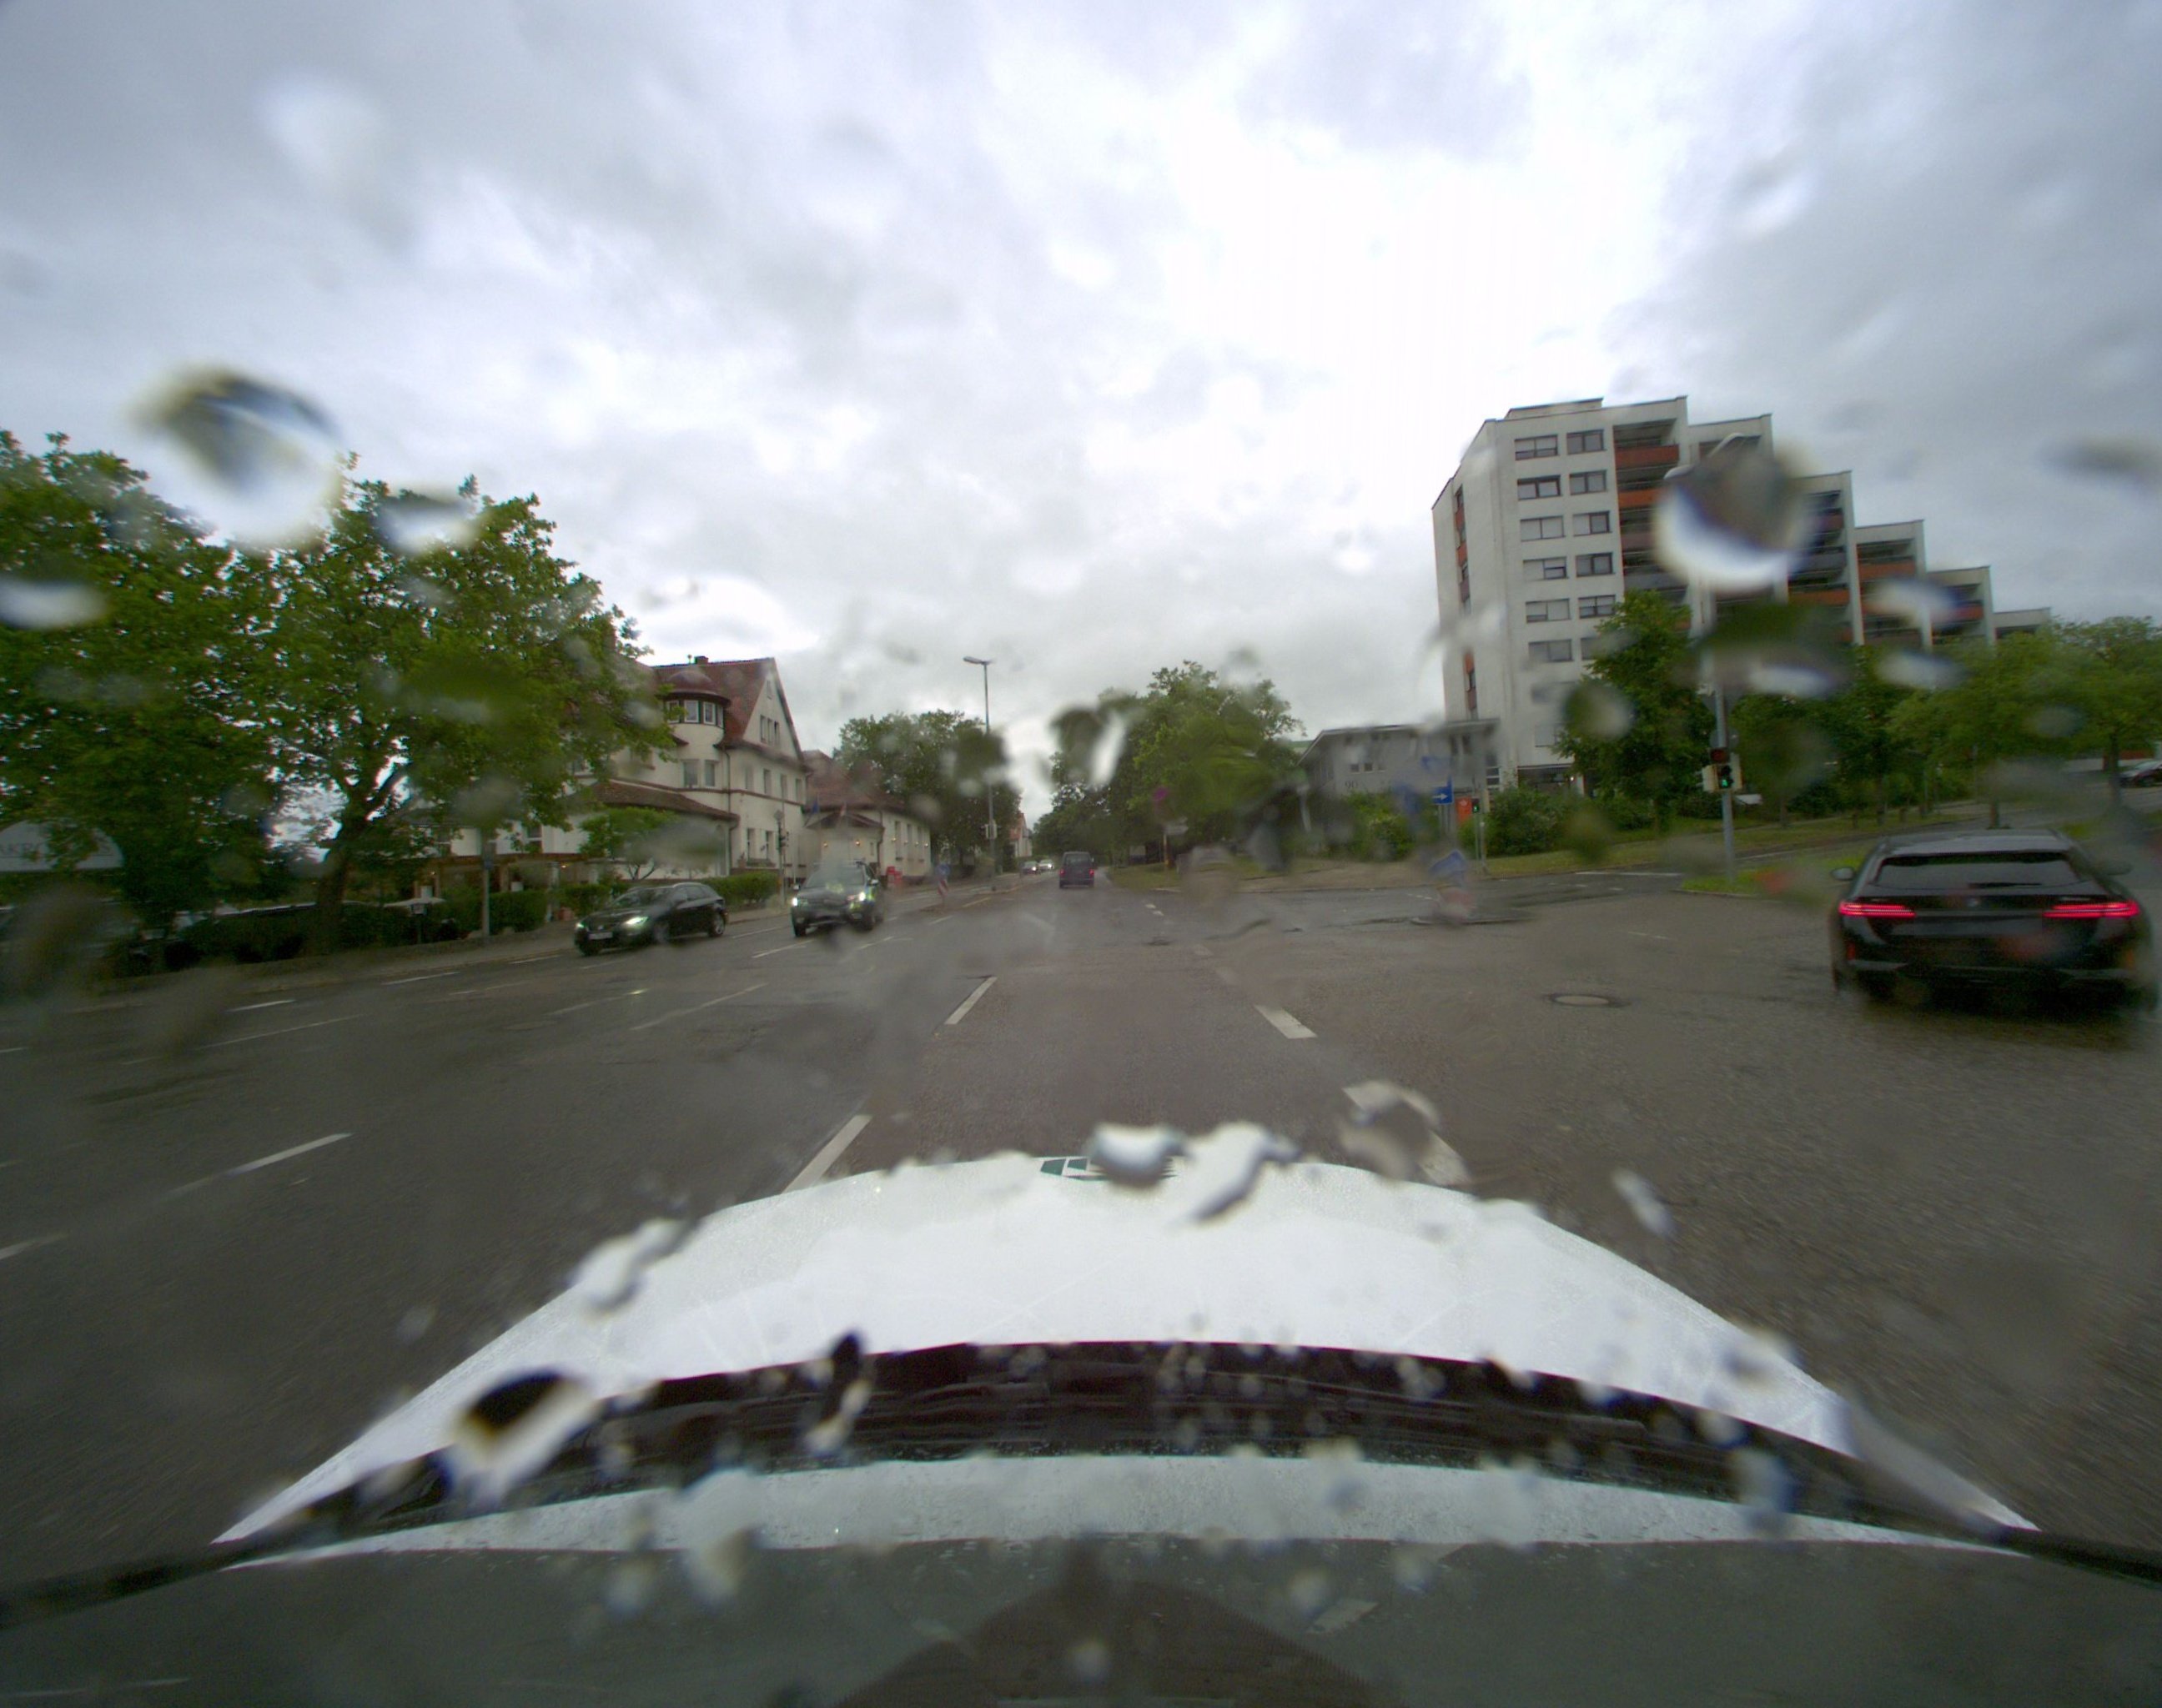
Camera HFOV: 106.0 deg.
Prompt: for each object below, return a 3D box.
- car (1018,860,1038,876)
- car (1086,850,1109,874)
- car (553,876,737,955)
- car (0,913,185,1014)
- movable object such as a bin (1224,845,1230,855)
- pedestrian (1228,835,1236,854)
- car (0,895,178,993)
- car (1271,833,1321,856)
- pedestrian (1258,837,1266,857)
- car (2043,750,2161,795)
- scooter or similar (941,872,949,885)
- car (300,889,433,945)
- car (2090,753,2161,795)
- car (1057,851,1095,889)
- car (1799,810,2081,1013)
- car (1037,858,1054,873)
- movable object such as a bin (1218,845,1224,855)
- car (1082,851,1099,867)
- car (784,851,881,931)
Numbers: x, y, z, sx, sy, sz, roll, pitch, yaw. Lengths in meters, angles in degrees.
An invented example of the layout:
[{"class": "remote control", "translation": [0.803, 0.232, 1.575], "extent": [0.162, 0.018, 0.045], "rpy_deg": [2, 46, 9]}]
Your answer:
[{"class": "car", "translation": [-5.676, 1.505, 87.636], "extent": [1.787, 1.527, 4.210], "rpy_deg": [-3, 0, 1]}, {"class": "car", "translation": [1.226, 0.639, 63.159], "extent": [1.699, 1.809, 3.684], "rpy_deg": [-1, -1, 0]}, {"class": "car", "translation": [-10.112, 1.349, 19.341], "extent": [1.902, 1.427, 4.415], "rpy_deg": [-3, 0, 0]}, {"class": "car", "translation": [-21.771, 2.263, 16.884], "extent": [1.802, 1.551, 4.002], "rpy_deg": [-1, 3, 1]}, {"class": "movable object such as a bin", "translation": [13.219, -0.352, 73.819], "extent": [0.446, 0.906, 0.465], "rpy_deg": [-1, -1, 18]}, {"class": "pedestrian", "translation": [14.460, -0.930, 78.005], "extent": [0.555, 1.763, 0.728], "rpy_deg": [-1, -1, -2]}, {"class": "car", "translation": [-24.108, 2.054, 18.833], "extent": [1.802, 1.762, 4.002], "rpy_deg": [-1, 3, 1]}, {"class": "car", "translation": [18.395, -0.821, 69.824], "extent": [3.961, 1.816, 2.006], "rpy_deg": [-1, -1, 11]}, {"class": "pedestrian", "translation": [14.413, -0.560, 64.908], "extent": [0.597, 1.617, 0.527], "rpy_deg": [-1, -1, 9]}, {"class": "car", "translation": [56.953, -4.451, 45.076], "extent": [1.995, 2.014, 4.346], "rpy_deg": [-1, -1, -13]}, {"class": "scooter or similar", "translation": [-10.791, 1.934, 64.542], "extent": [0.388, 1.064, 1.410], "rpy_deg": [-1, -1, -1]}, {"class": "car", "translation": [-29.555, 2.556, 33.872], "extent": [1.988, 2.014, 3.998], "rpy_deg": [-1, -1, -1]}, {"class": "car", "translation": [59.893, -4.502, 45.265], "extent": [1.995, 2.014, 4.346], "rpy_deg": [-1, -1, -13]}, {"class": "car", "translation": [-0.245, 0.810, 41.646], "extent": [1.806, 1.809, 3.756], "rpy_deg": [-1, -1, 0]}, {"class": "car", "translation": [8.131, 0.447, 8.015], "extent": [1.509, 1.534, 3.554], "rpy_deg": [-2, -1, 41]}, {"class": "car", "translation": [-4.461, 1.454, 103.913], "extent": [1.823, 1.671, 4.052], "rpy_deg": [-3, 0, 1]}, {"class": "movable object such as a bin", "translation": [12.758, -0.342, 73.970], "extent": [0.446, 0.906, 0.465], "rpy_deg": [-1, -1, 18]}, {"class": "car", "translation": [1.160, 0.598, 99.610], "extent": [1.987, 1.882, 4.000], "rpy_deg": [-1, -1, 1]}, {"class": "car", "translation": [-5.952, 0.794, 19.563], "extent": [1.903, 1.577, 4.476], "rpy_deg": [-3, 0, -17]}]
